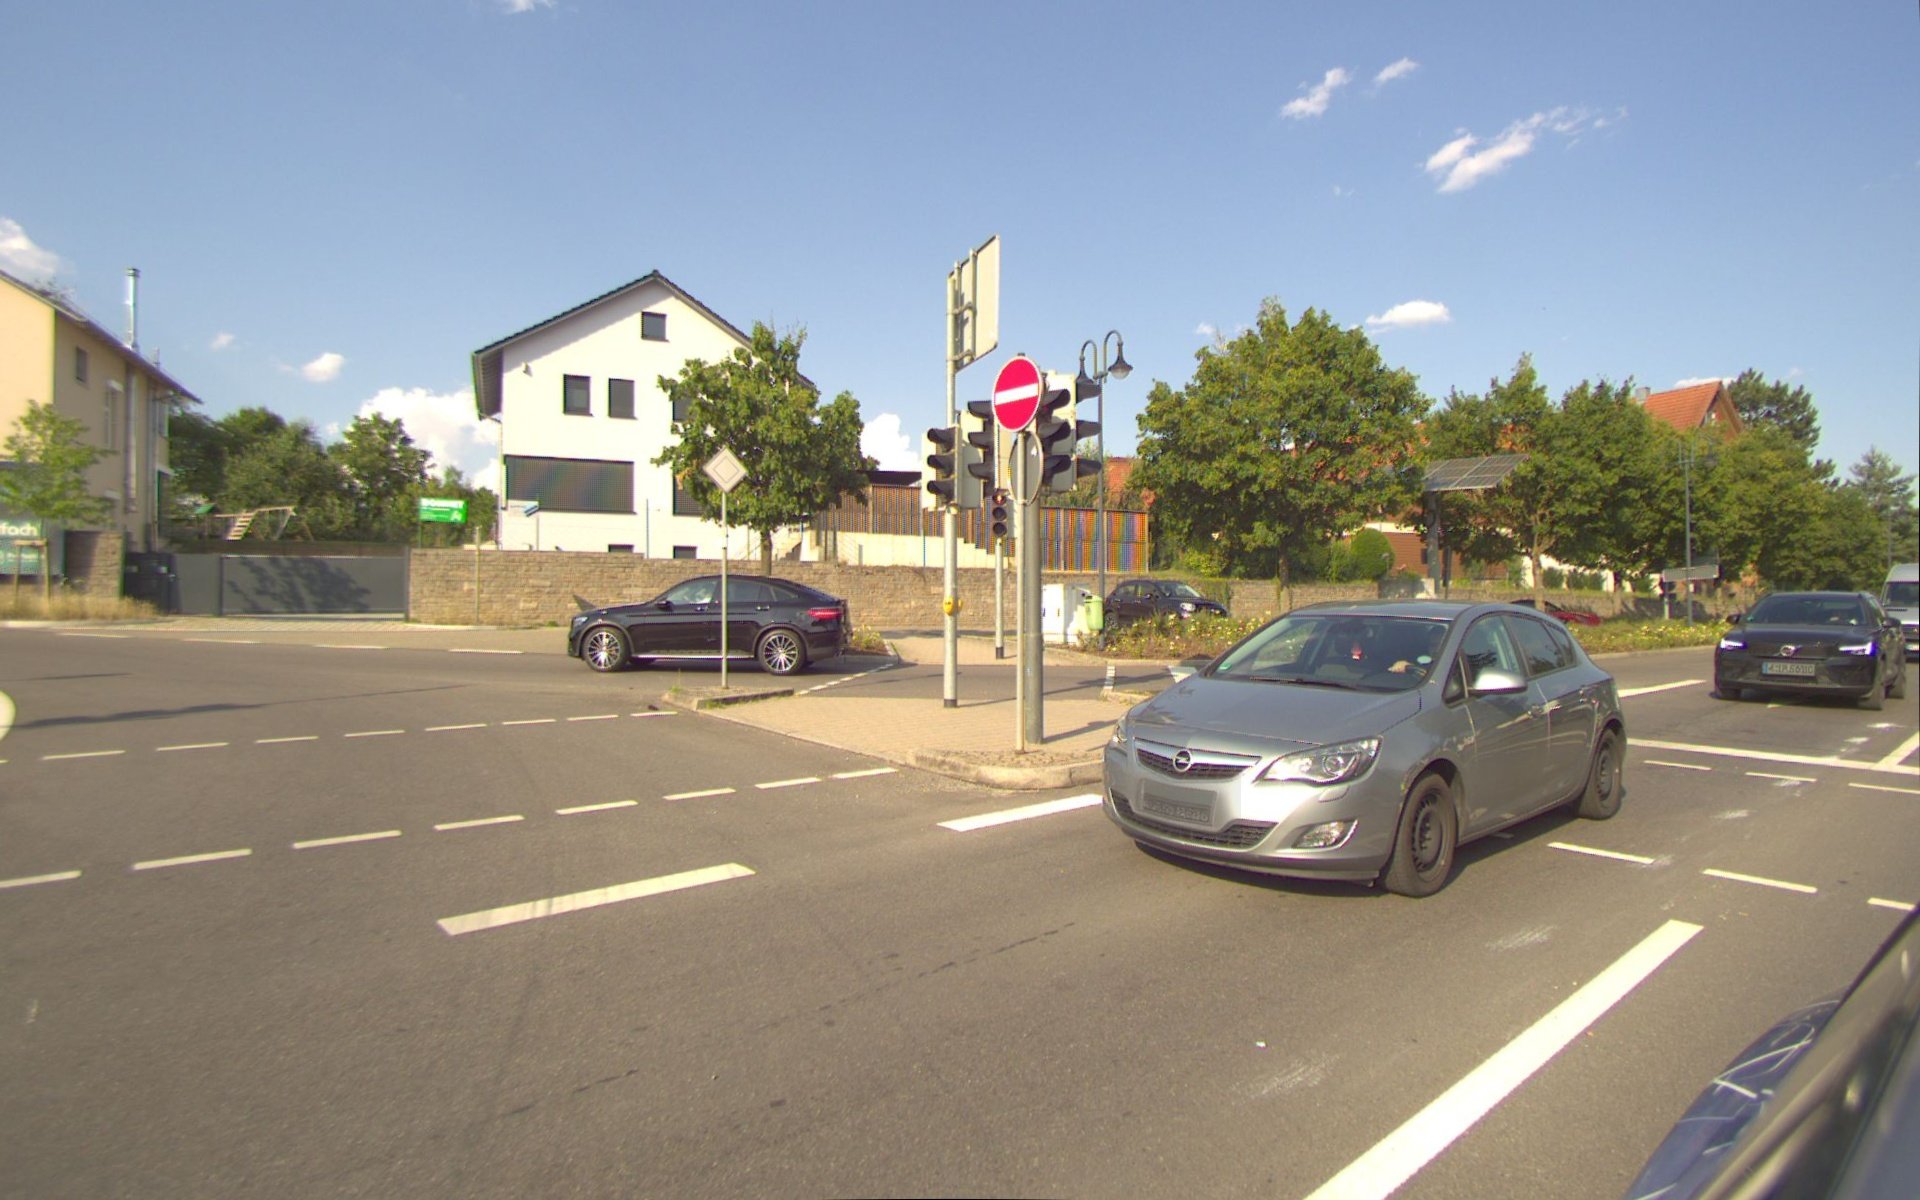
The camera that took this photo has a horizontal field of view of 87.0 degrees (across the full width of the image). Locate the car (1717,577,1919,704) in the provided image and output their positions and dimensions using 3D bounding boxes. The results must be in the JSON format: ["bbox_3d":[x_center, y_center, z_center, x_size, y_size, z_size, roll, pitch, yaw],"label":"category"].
[{"bbox_3d":[12.851,0.524,15.039,3.985,1.626,1.790,0,0,-41],"label":"car"}]

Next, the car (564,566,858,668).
[{"bbox_3d":[-3.997,0.262,16.750,4.412,1.586,1.844,0,-1,2],"label":"car"}]

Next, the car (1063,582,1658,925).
[{"bbox_3d":[2.670,0.658,6.262,4.069,1.440,1.651,1,1,-40],"label":"car"}]

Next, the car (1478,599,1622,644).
[{"bbox_3d":[20.404,0.700,35.175,1.714,1.449,4.002,0,0,-33],"label":"car"}]

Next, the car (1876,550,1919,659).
[{"bbox_3d":[26.168,0.108,27.016,6.538,2.691,2.037,0,1,-43],"label":"car"}]

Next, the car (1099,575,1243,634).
[{"bbox_3d":[5.698,0.108,27.844,1.644,1.475,4.085,0,0,-28],"label":"car"}]
